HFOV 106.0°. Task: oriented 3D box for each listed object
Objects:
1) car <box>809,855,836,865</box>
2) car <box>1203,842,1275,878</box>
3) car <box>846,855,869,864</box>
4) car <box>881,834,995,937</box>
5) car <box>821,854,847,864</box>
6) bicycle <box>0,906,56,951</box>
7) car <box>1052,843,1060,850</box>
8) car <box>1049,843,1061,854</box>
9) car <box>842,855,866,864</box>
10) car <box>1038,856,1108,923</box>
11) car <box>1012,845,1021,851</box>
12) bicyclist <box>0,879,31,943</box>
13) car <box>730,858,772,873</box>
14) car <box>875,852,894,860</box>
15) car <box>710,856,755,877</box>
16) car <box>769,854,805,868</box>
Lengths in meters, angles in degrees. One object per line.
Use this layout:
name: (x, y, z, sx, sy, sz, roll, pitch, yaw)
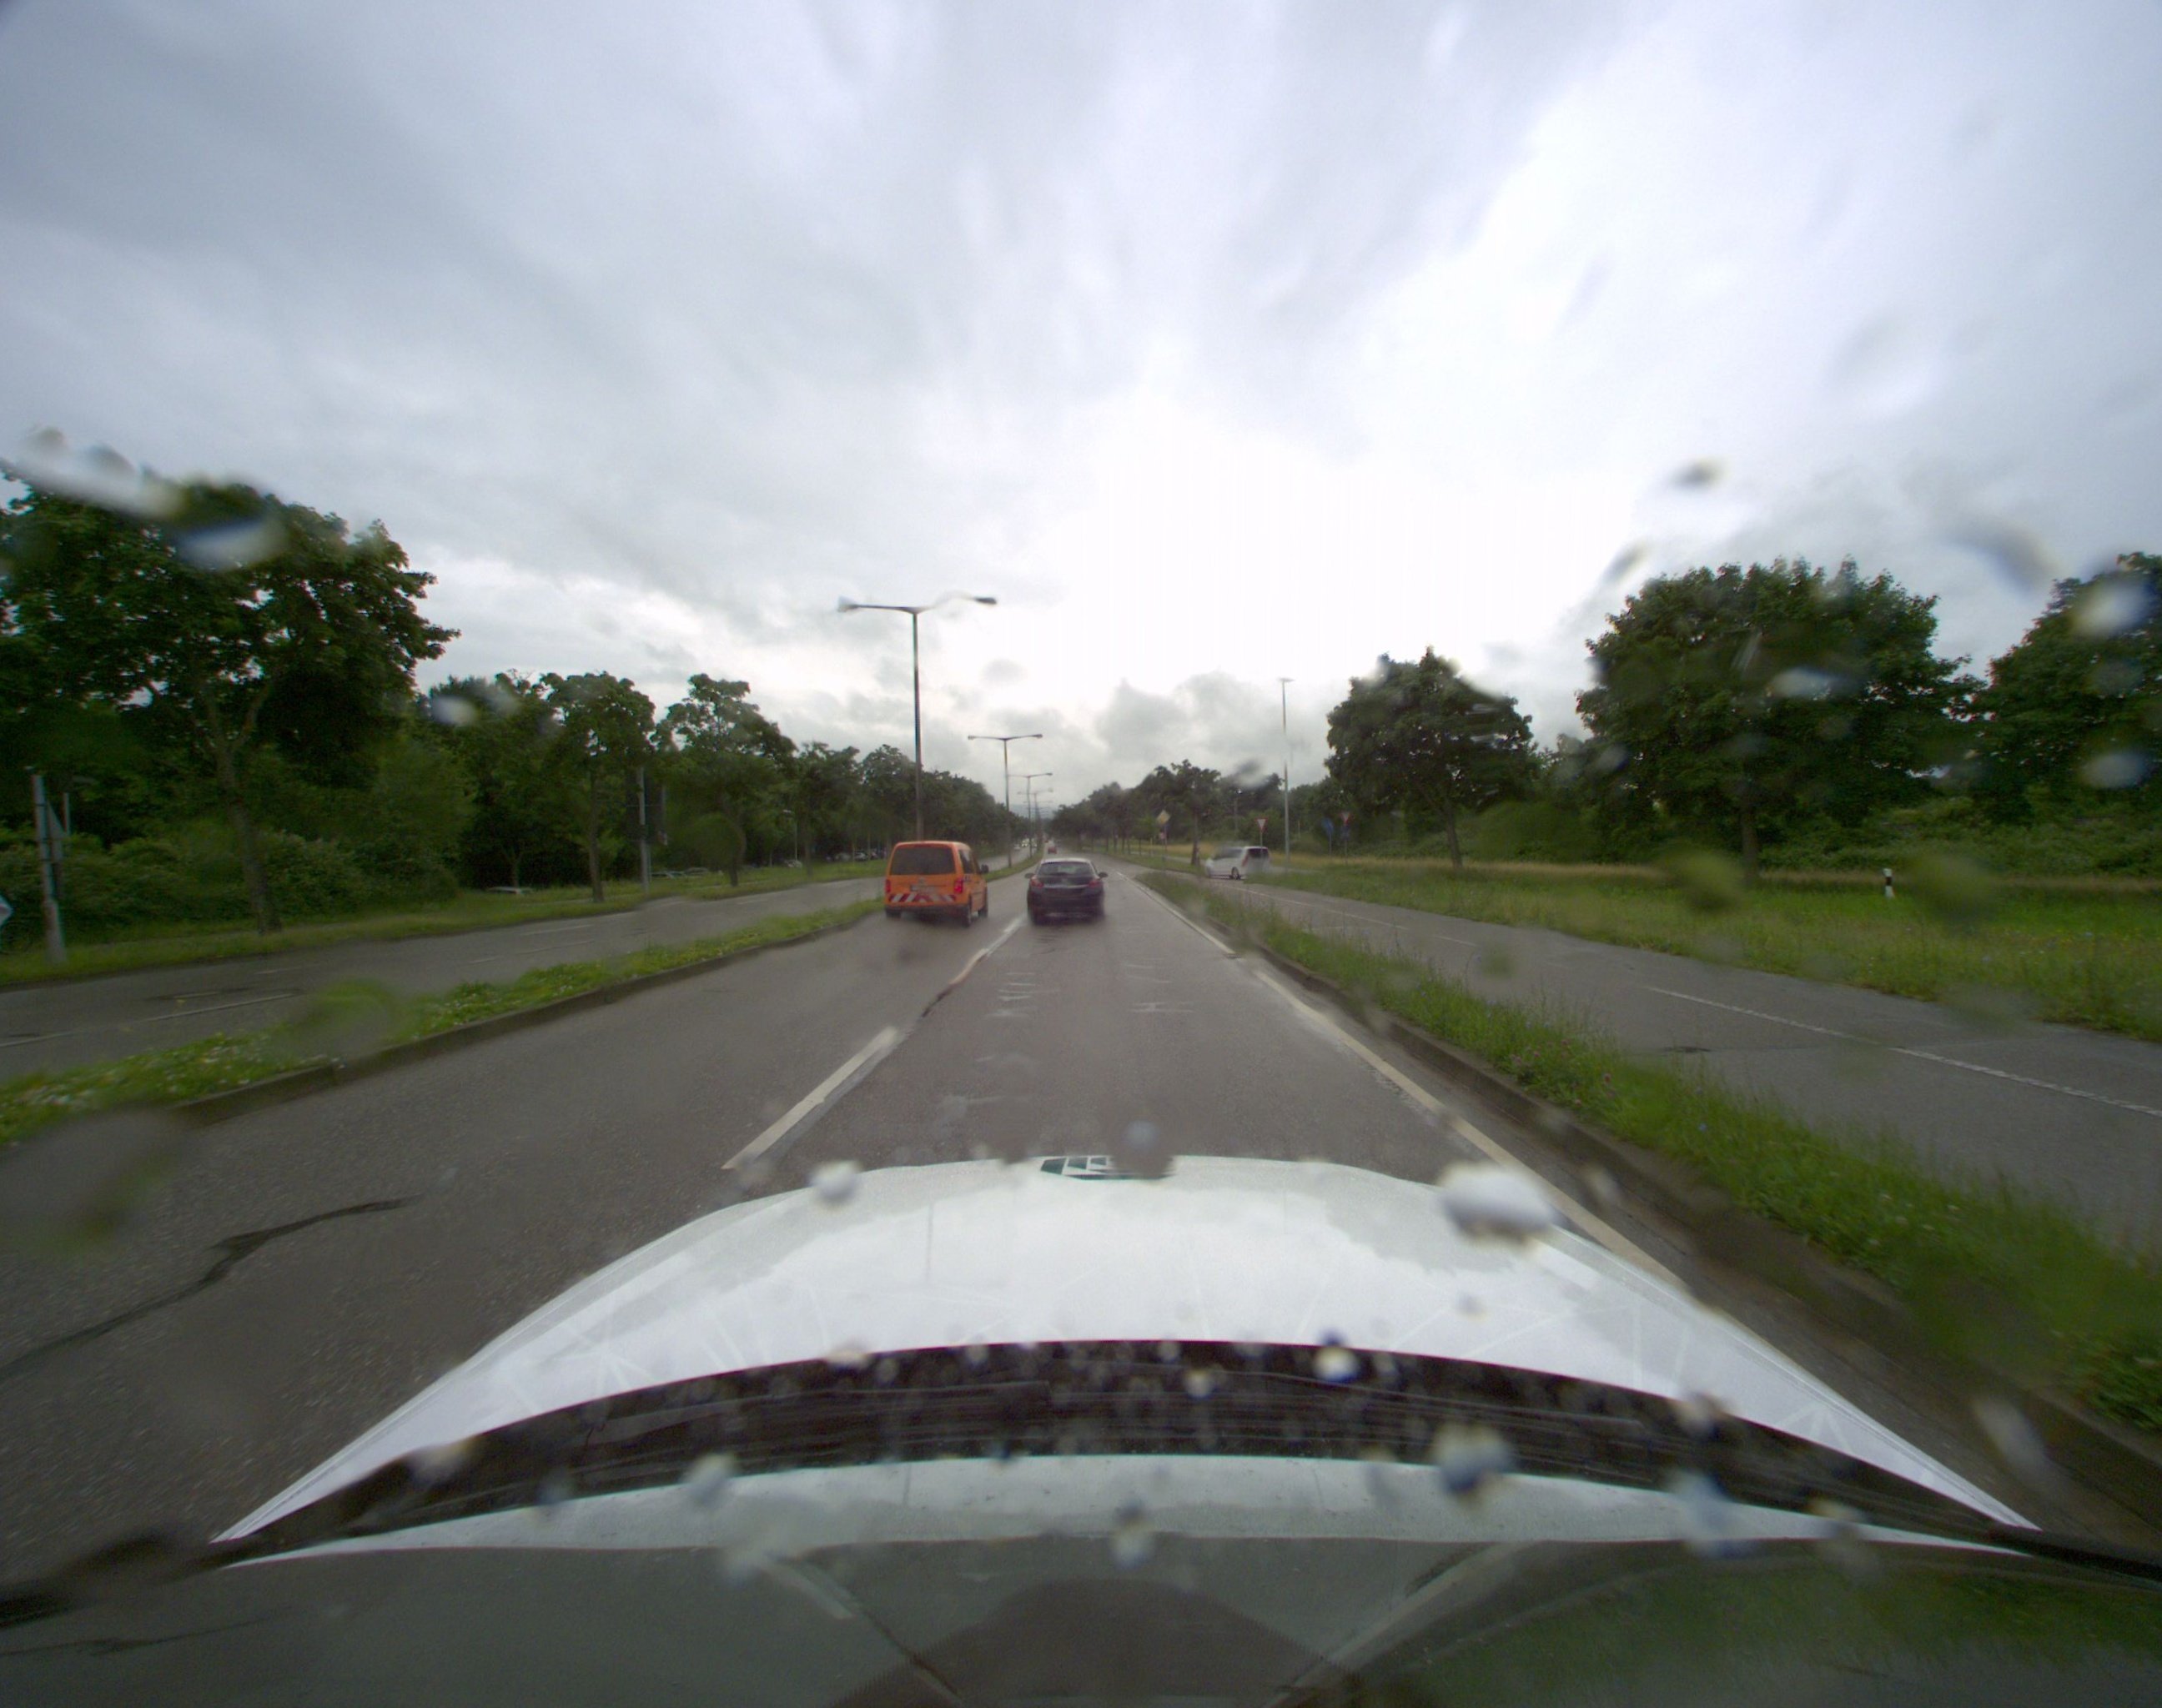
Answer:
car: (-39.863, 0.894, 125.593, 3.729, 1.426, 1.485, -2, 1, -7)
car: (9.103, 0.327, 47.408, 2.066, 1.974, 4.578, 0, 0, -20)
car: (-40.812, 0.938, 148.703, 3.831, 1.452, 1.521, -2, 1, -7)
car: (-3.069, 0.602, 18.454, 1.729, 2.019, 4.848, 0, 0, -1)
car: (-40.346, 0.856, 133.214, 3.831, 1.452, 1.521, -2, 1, -7)
bicycle: (-22.582, 1.568, 16.899, 0.520, 0.886, 1.634, 0, 0, 2)
car: (-7.848, -2.291, 259.485, 2.509, 2.052, 5.289, -2, 0, -2)
car: (-4.783, -1.011, 149.659, 1.986, 1.879, 4.002, -1, 0, 2)
car: (-40.688, 0.912, 146.100, 3.831, 1.452, 1.521, -2, 1, -7)
car: (-0.116, 0.746, 18.931, 1.458, 1.328, 3.759, -1, 1, 1)
car: (-15.124, -1.396, 191.961, 1.677, 1.554, 4.000, 0, 0, 1)
bicyclist: (-22.586, 1.191, 16.904, 0.520, 1.303, 0.808, 0, 0, 2)
car: (-37.757, 1.323, 93.233, 3.982, 1.618, 1.996, -1, 1, -6)
car: (-41.231, 0.401, 170.734, 3.844, 1.452, 1.516, -2, 1, -17)
car: (-37.736, 1.325, 88.283, 3.982, 2.013, 1.996, -2, 1, -6)
car: (-38.112, 0.926, 105.524, 3.982, 1.640, 1.908, -2, 1, -6)
